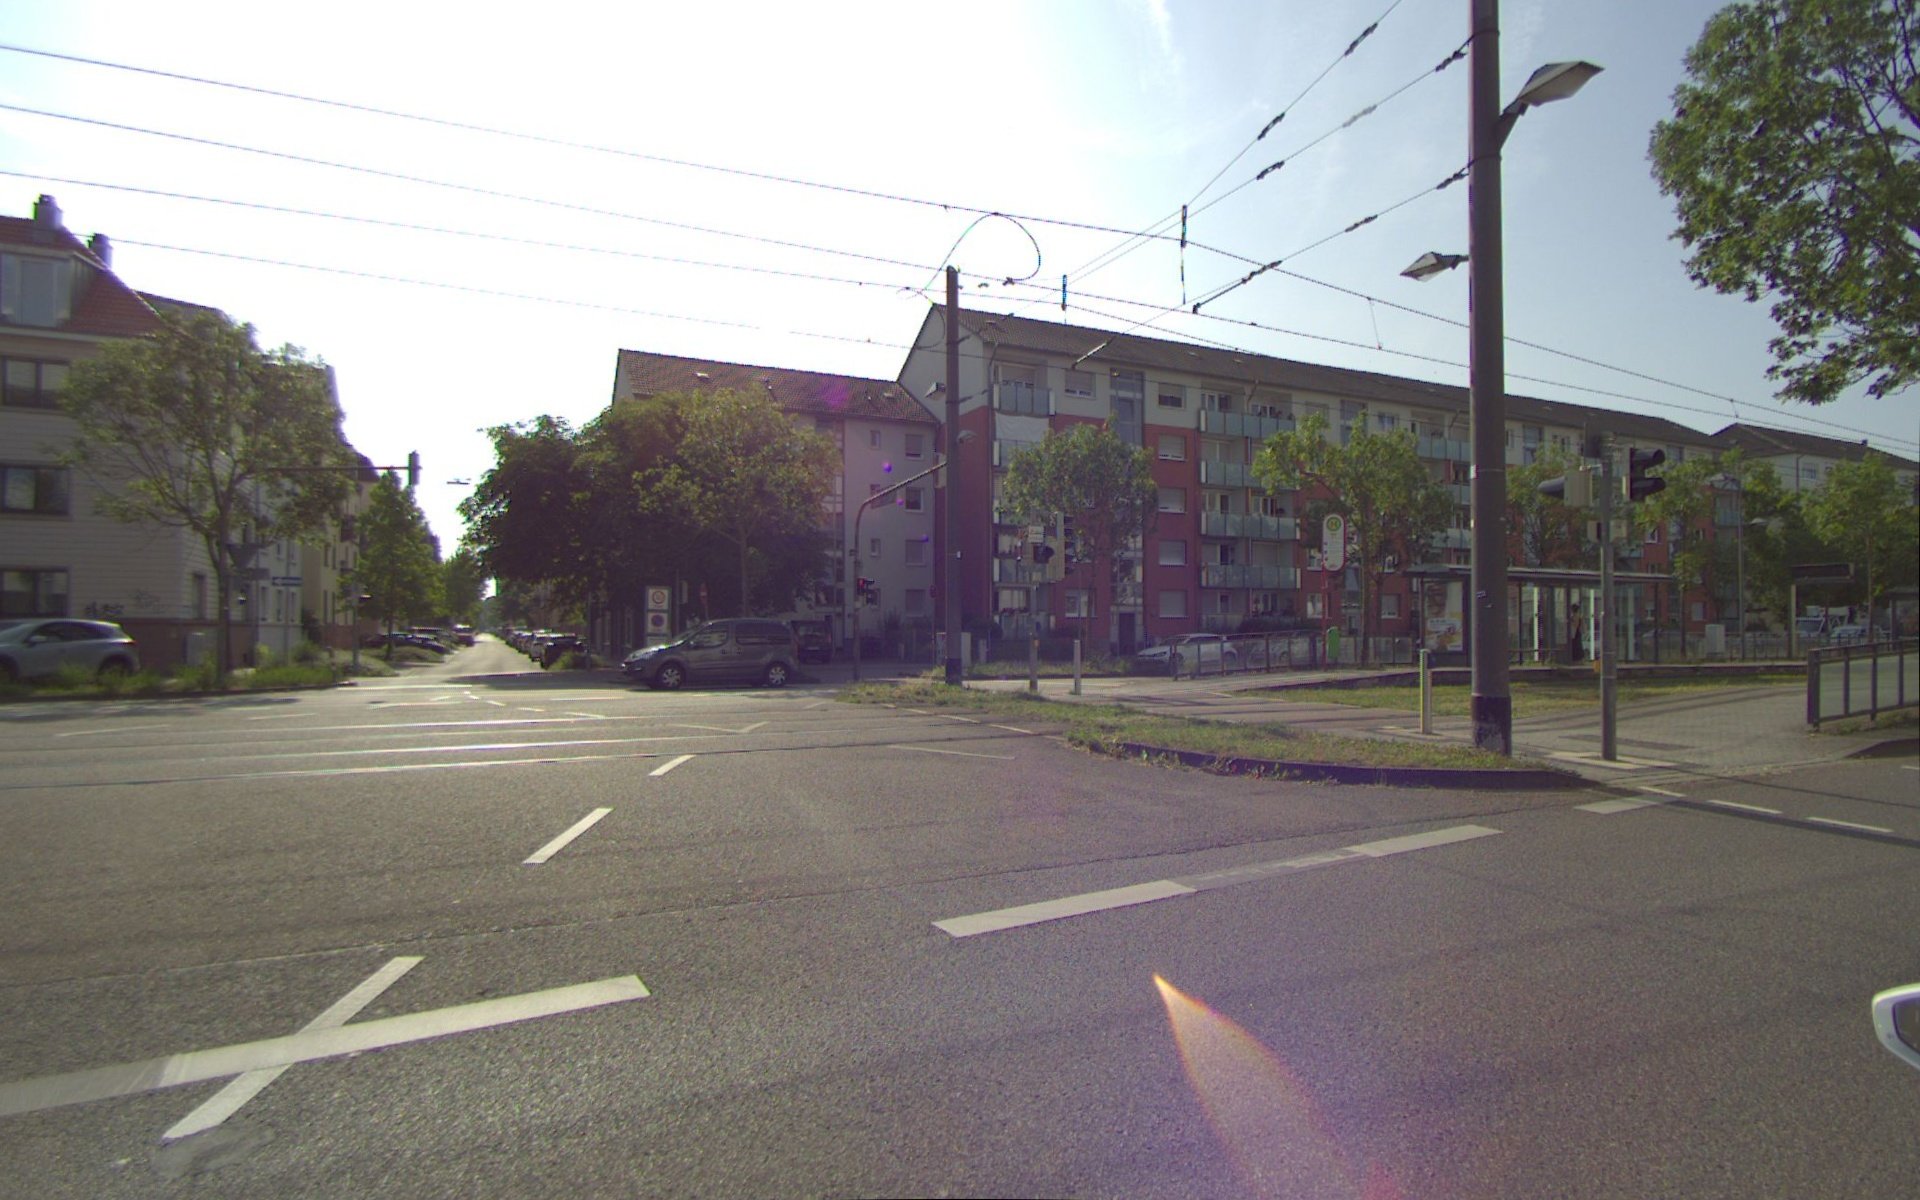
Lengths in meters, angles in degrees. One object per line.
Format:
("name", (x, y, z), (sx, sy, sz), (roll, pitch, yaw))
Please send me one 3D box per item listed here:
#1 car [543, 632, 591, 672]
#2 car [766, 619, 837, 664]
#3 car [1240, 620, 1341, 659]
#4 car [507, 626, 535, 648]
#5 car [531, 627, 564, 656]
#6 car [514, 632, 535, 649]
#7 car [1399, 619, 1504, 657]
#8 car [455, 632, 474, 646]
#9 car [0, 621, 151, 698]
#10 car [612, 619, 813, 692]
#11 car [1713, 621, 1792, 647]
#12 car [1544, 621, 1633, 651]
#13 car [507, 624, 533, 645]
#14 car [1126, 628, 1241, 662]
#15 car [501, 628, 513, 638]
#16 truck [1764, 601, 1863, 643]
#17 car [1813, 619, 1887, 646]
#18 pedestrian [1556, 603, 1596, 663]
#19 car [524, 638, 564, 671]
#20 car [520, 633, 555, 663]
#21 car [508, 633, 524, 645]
("car", (-18.460, 2.391, 47.109), (1.971, 1.627, 3.978), (0, 0, -23))
("car", (-6.719, 1.691, 42.224), (1.973, 1.717, 3.975), (0, 0, -25))
("car", (13.579, 1.604, 41.220), (3.777, 1.490, 1.827), (0, 0, -27))
("car", (-31.844, 2.662, 72.856), (1.795, 1.495, 3.978), (0, 0, -23))
("car", (-26.368, 2.622, 64.281), (1.904, 1.663, 3.979), (0, 0, -22))
("car", (-42.271, 3.928, 97.465), (1.795, 1.495, 3.978), (0, 0, -23))
("car", (22.266, 1.679, 45.509), (4.478, 1.577, 1.974), (0, 0, -27))
("car", (-56.039, 4.395, 113.716), (1.796, 1.494, 3.976), (1, -2, -25))
("car", (-20.445, 1.260, 21.795), (1.924, 1.483, 4.355), (1, 0, 8))
("car", (-6.321, 1.406, 25.776), (4.657, 1.728, 1.985), (1, -4, -30))
("car", (44.240, 1.868, 56.047), (4.016, 1.378, 1.974), (0, 0, -27))
("car", (31.080, 1.755, 49.678), (4.016, 1.378, 1.974), (0, 0, -27))
("car", (-34.120, 2.640, 78.018), (1.795, 1.495, 3.978), (0, 0, -23))
("car", (8.548, 1.708, 38.377), (4.111, 1.163, 1.827), (0, 0, -27))
("car", (-74.552, 5.448, 165.384), (1.795, 1.495, 3.978), (0, 0, -23))
("truck", (55.807, 1.396, 65.640), (7.147, 2.597, 2.357), (0, 0, -27))
("car", (53.747, 1.950, 60.651), (4.225, 1.533, 1.974), (0, 0, -27))
("pedestrian", (17.531, 0.938, 28.579), (0.785, 1.675, 0.668), (1, -1, -30))
("car", (-21.449, 2.764, 51.774), (1.795, 1.495, 3.978), (0, 0, -23))
("car", (-24.279, 2.736, 57.776), (1.795, 1.495, 3.978), (0, 0, -23))
("car", (-55.124, 4.809, 124.778), (1.795, 1.494, 3.978), (0, -2, -23))
